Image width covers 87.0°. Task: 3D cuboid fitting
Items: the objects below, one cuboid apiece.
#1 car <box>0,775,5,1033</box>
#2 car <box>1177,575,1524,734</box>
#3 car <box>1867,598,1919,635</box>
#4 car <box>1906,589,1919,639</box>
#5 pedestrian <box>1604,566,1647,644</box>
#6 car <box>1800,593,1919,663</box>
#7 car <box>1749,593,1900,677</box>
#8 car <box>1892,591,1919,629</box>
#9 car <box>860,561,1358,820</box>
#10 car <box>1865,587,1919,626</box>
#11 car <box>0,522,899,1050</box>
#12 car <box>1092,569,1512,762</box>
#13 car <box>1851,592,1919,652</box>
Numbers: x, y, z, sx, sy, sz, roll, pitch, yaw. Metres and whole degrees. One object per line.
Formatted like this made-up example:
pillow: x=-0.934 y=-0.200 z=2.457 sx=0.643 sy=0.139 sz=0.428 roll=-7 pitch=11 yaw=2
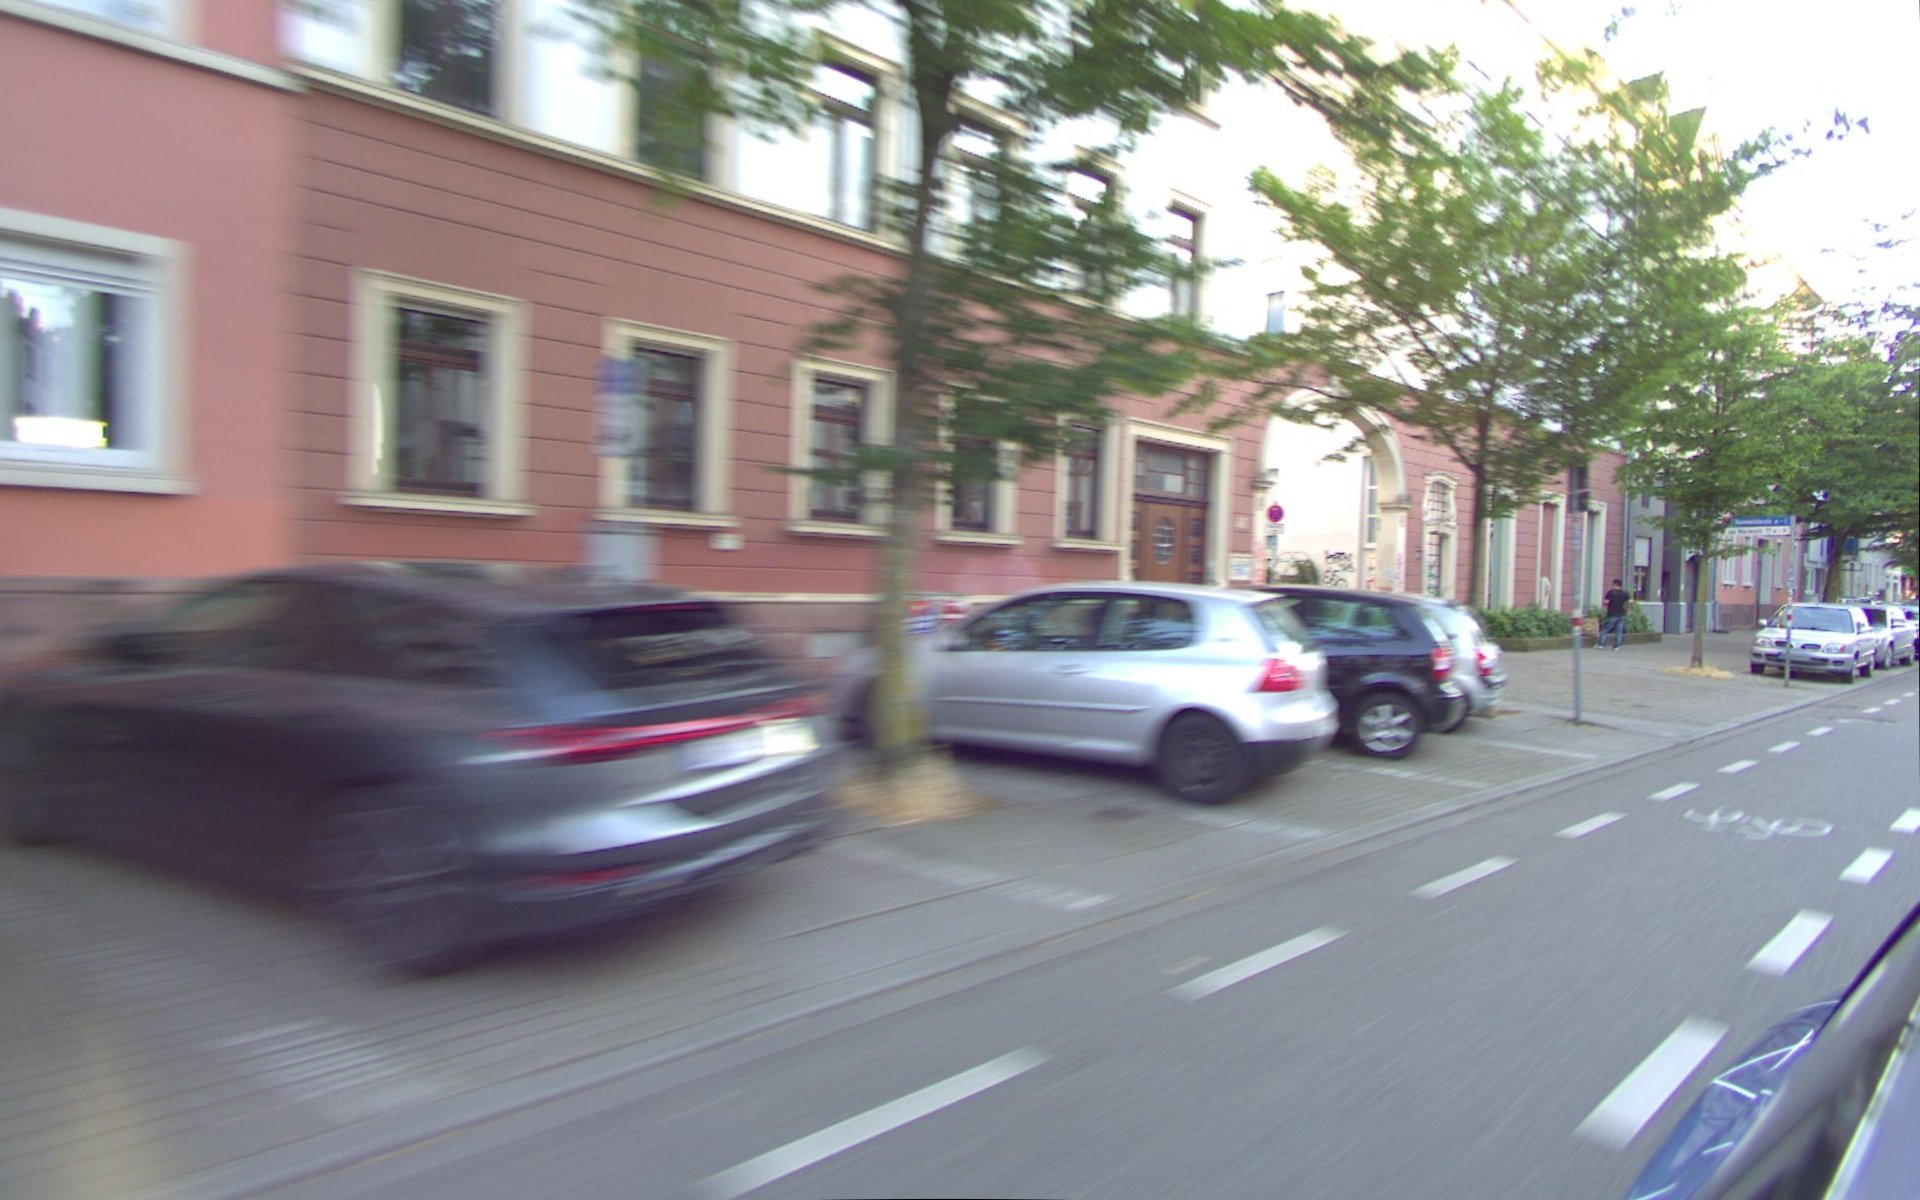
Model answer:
car: x=-5.006 y=0.470 z=3.065 sx=3.961 sy=1.509 sz=1.815 roll=4 pitch=4 yaw=26
car: x=4.440 y=0.499 z=11.619 sx=3.467 sy=1.446 sz=1.603 roll=3 pitch=3 yaw=32
car: x=40.013 y=0.717 z=41.203 sx=4.219 sy=1.405 sz=1.607 roll=2 pitch=1 yaw=25
car: x=33.592 y=0.531 z=34.165 sx=4.187 sy=1.637 sz=1.884 roll=0 pitch=4 yaw=-41
pedestrian: x=15.894 y=0.106 z=24.165 sx=0.589 sy=1.839 sz=0.682 roll=1 pitch=1 yaw=-39
car: x=21.592 y=0.610 z=23.828 sx=4.605 sy=1.397 sz=1.786 roll=0 pitch=4 yaw=-38
car: x=17.065 y=0.617 z=19.925 sx=3.709 sy=1.397 sz=1.623 roll=0 pitch=4 yaw=-40
car: x=42.439 y=0.526 z=42.952 sx=3.946 sy=1.573 sz=1.699 roll=4 pitch=1 yaw=33
car: x=1.180 y=0.534 z=8.024 sx=3.531 sy=1.535 sz=1.729 roll=3 pitch=2 yaw=26
car: x=43.283 y=0.364 z=45.126 sx=3.966 sy=1.613 sz=1.702 roll=4 pitch=1 yaw=29
car: x=-2.728 y=0.464 z=5.000 sx=4.418 sy=1.535 sz=2.044 roll=3 pitch=2 yaw=28
car: x=3.238 y=0.501 z=9.807 sx=3.531 sy=1.446 sz=1.655 roll=3 pitch=2 yaw=26
car: x=26.613 y=0.588 z=28.130 sx=4.946 sy=1.507 sz=1.998 roll=0 pitch=3 yaw=-40
